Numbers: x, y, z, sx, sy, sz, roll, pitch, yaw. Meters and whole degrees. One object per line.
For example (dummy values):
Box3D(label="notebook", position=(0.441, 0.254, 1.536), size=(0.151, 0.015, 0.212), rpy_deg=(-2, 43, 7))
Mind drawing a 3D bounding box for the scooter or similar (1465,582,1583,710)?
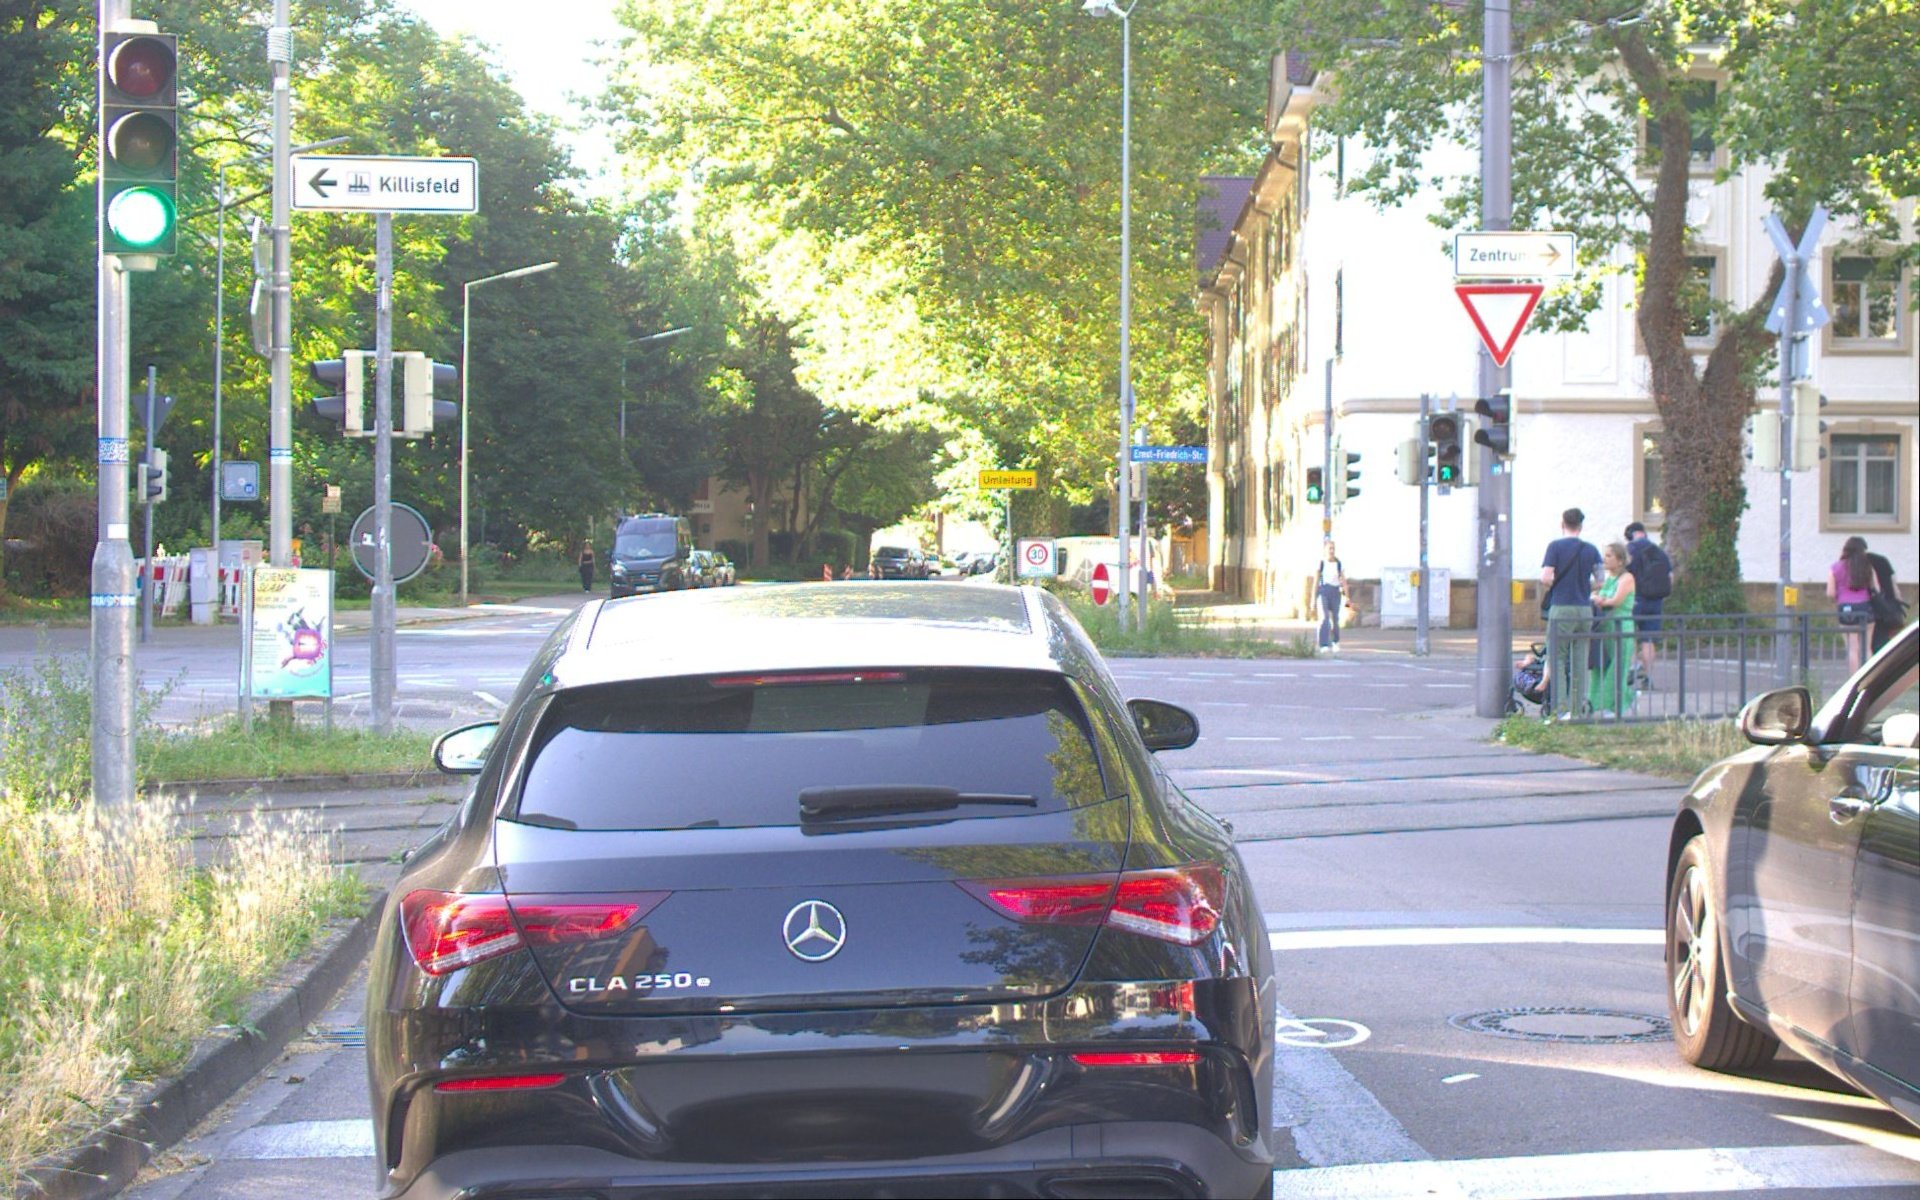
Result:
Box3D(label="scooter or similar", position=(4.975, 0.396, 30.353), size=(0.828, 1.101, 0.809), rpy_deg=(1, 0, -6))

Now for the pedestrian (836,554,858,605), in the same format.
Box3D(label="pedestrian", position=(-4.268, -0.790, 129.717), size=(0.705, 1.911, 0.839), rpy_deg=(1, 0, -10))

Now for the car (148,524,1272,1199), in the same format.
Box3D(label="car", position=(-0.404, 0.619, 7.833), size=(1.889, 1.445, 4.001), rpy_deg=(1, 3, 1))

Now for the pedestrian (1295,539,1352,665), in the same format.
Box3D(label="pedestrian", position=(5.563, 0.027, 52.680), size=(0.705, 1.911, 0.839), rpy_deg=(1, 0, -4))

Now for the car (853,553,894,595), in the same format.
Box3D(label="car", position=(-3.763, -1.125, 150.074), size=(1.733, 1.759, 4.019), rpy_deg=(1, 0, -1))

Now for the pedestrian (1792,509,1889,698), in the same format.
Box3D(label="pedestrian", position=(9.049, 0.036, 35.347), size=(0.705, 1.911, 0.839), rpy_deg=(1, 0, -4))

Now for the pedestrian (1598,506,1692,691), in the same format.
Box3D(label="pedestrian", position=(7.179, -0.016, 36.052), size=(0.705, 1.911, 0.839), rpy_deg=(1, 0, -7))

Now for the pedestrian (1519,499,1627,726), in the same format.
Box3D(label="pedestrian", position=(5.260, 0.107, 29.505), size=(0.705, 1.911, 0.685), rpy_deg=(1, 0, -7))

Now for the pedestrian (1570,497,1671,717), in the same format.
Box3D(label="pedestrian", position=(5.824, 0.060, 30.361), size=(0.682, 1.911, 0.707), rpy_deg=(1, 0, -4))

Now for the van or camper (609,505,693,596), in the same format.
Box3D(label="van or camper", position=(-8.915, -1.416, 99.434), size=(1.993, 2.533, 4.651), rpy_deg=(1, 0, 0))

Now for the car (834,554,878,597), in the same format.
Box3D(label="car", position=(-4.370, -1.047, 145.254), size=(1.733, 1.759, 4.019), rpy_deg=(1, 0, -1))

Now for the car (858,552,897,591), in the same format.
Box3D(label="car", position=(-3.779, -1.313, 158.157), size=(1.733, 1.759, 4.019), rpy_deg=(1, 0, -1))

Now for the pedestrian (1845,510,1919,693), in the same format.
Box3D(label="pedestrian", position=(9.860, 0.015, 36.346), size=(0.705, 1.911, 0.839), rpy_deg=(1, 0, -4))

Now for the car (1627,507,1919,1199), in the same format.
Box3D(label="car", position=(2.882, 0.599, 7.727), size=(1.889, 1.485, 4.382), rpy_deg=(1, 3, 0))
